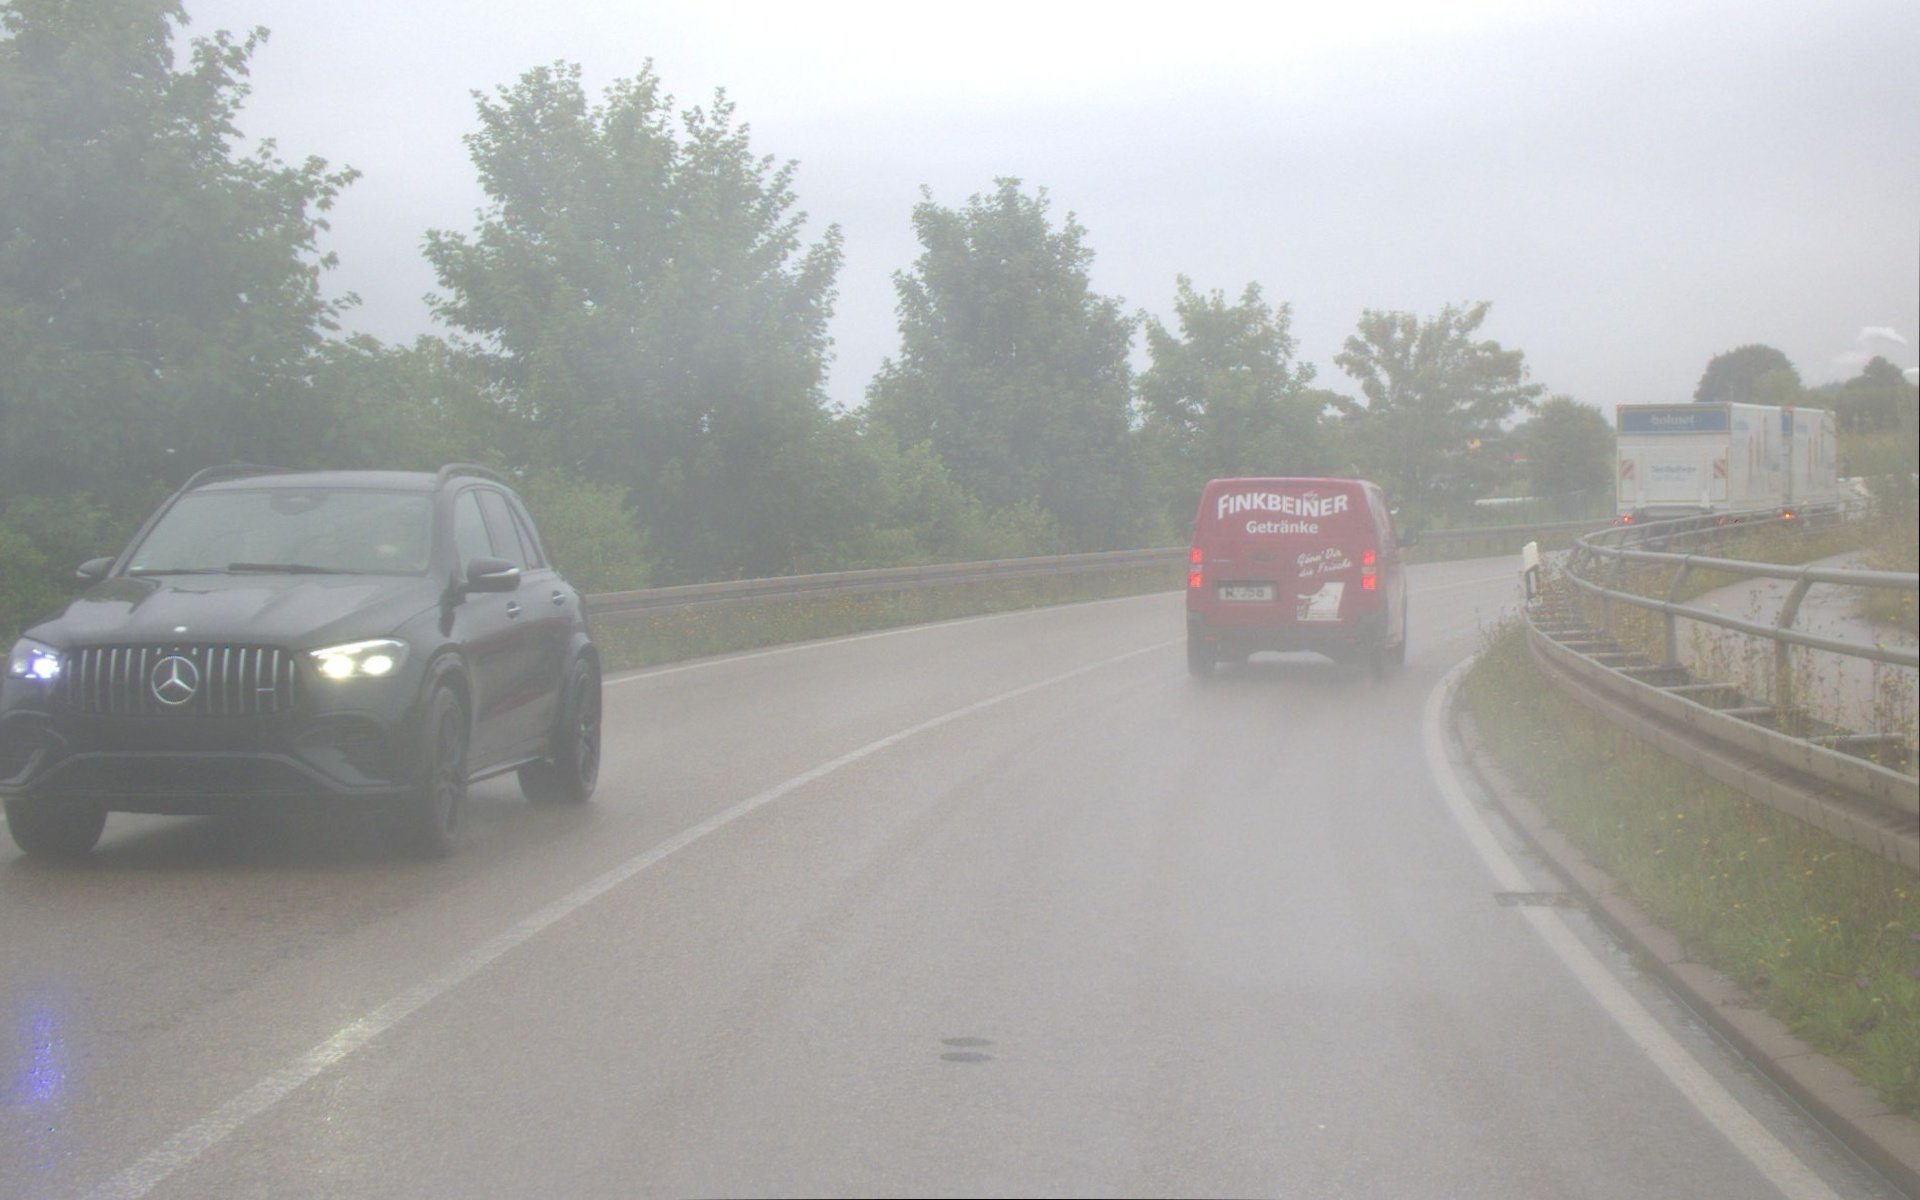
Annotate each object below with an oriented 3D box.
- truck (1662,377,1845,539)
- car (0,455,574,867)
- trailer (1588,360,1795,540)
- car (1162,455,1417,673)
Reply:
[{"bbox_3d":[20.352,-3.506,87.744,3.205,3.908,8.730,0,1,22],"label":"truck"},{"bbox_3d":[-3.095,0.220,16.433,1.993,1.721,4.000,0,1,1],"label":"car"},{"bbox_3d":[17.063,-3.359,79.682,3.205,3.908,8.730,0,1,22],"label":"trailer"},{"bbox_3d":[3.296,-0.409,33.683,1.994,1.919,4.142,-2,2,11],"label":"car"}]
